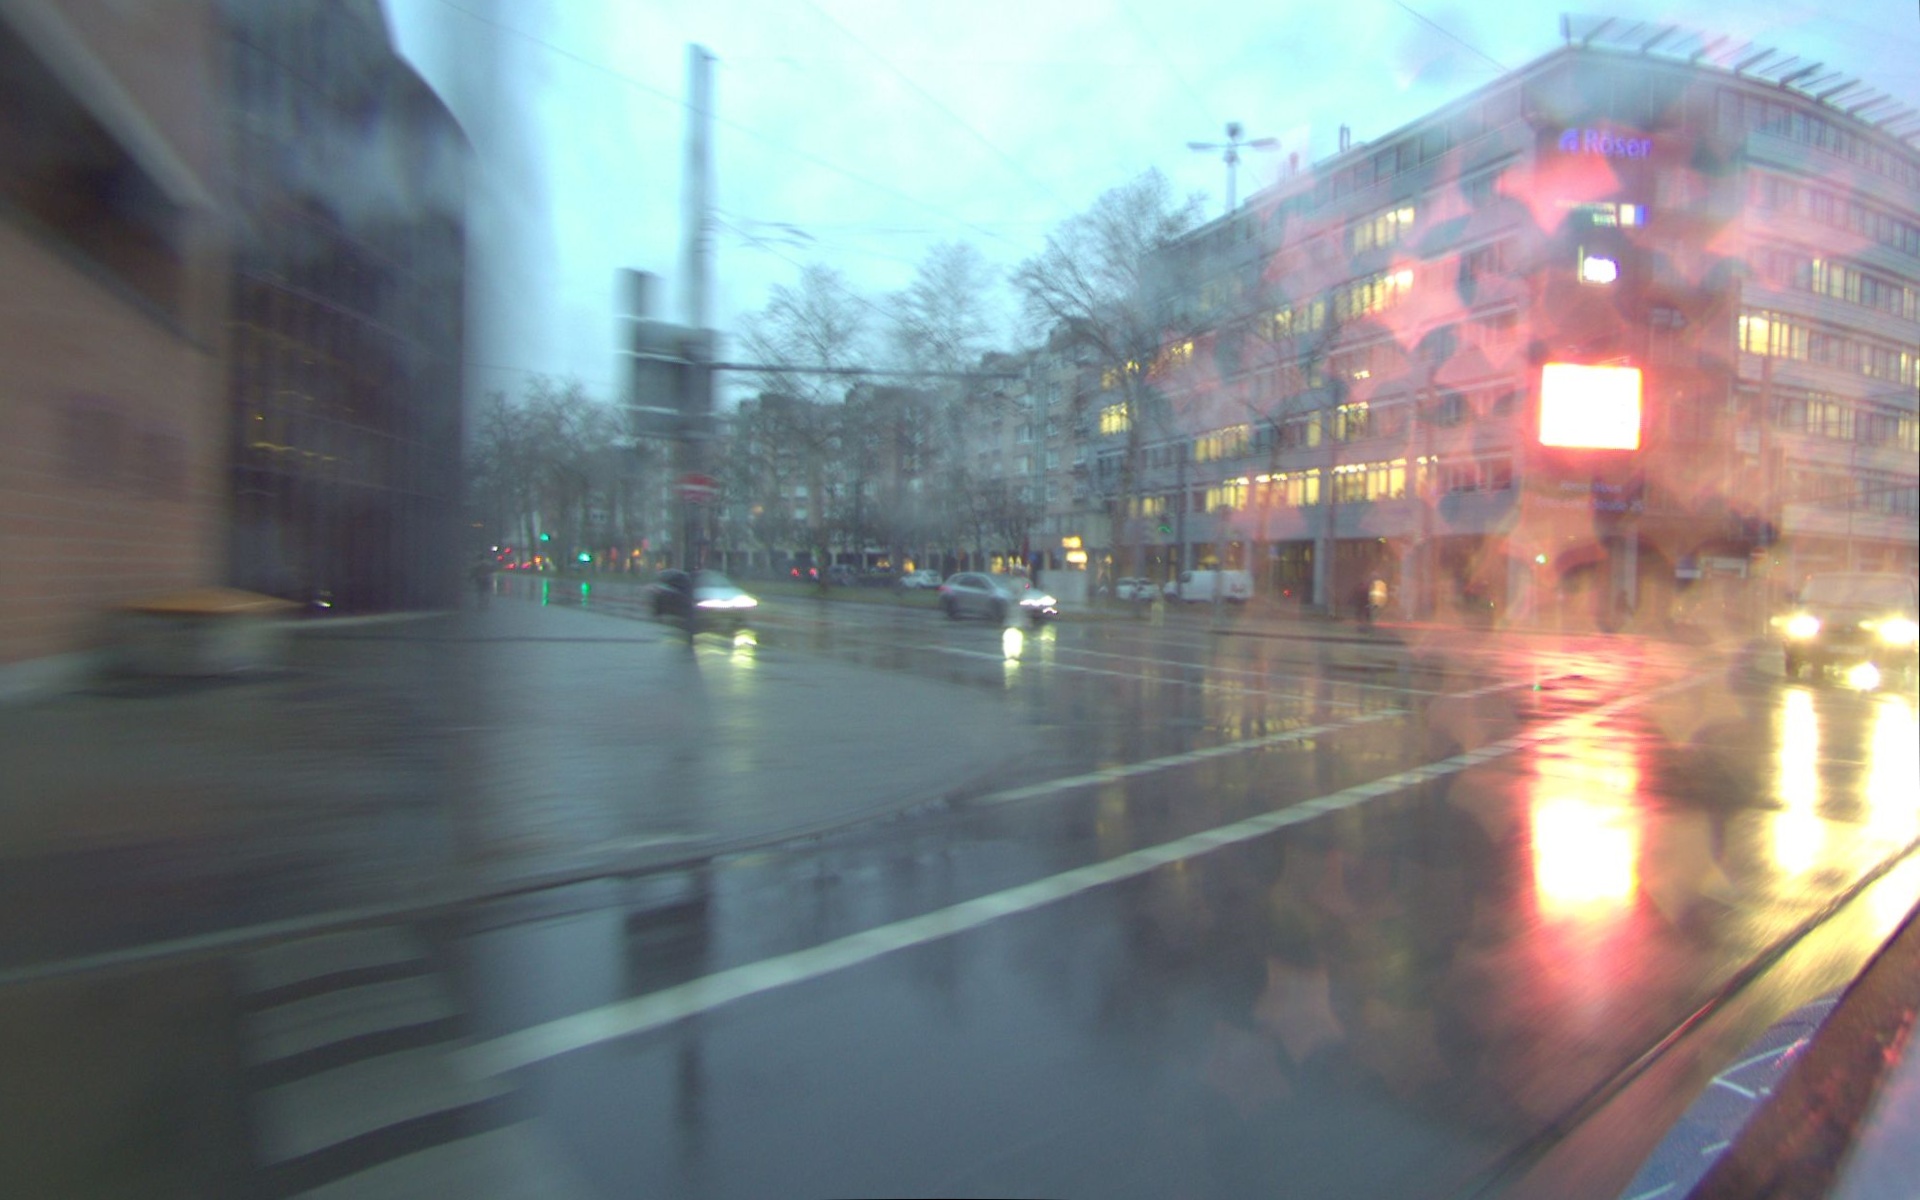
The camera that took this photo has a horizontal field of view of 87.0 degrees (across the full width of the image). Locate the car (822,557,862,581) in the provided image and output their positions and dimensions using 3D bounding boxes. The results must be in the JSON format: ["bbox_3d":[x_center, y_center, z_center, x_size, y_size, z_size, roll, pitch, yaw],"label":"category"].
[{"bbox_3d":[-10.033,-2.652,85.967,1.807,1.974,4.004,0,3,-33],"label":"car"}]

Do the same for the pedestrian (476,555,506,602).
[{"bbox_3d":[-14.398,-0.650,31.099,0.721,1.406,0.741,1,1,-16],"label":"pedestrian"}]

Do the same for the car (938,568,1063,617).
[{"bbox_3d":[1.179,-0.276,31.036,1.780,1.357,3.996,0,2,-34],"label":"car"}]

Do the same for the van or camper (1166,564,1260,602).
[{"bbox_3d":[13.382,-0.918,53.755,1.807,1.953,4.747,0,1,-36],"label":"van or camper"}]

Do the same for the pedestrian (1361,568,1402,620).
[{"bbox_3d":[15.184,-0.236,36.470,1.148,1.809,0.765,3,2,43],"label":"pedestrian"}]

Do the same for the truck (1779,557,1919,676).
[{"bbox_3d":[16.817,0.274,18.686,4.536,1.941,1.908,1,0,-41],"label":"truck"}]

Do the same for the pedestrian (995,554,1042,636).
[{"bbox_3d":[1.333,-0.123,23.066,0.722,1.809,0.735,0,2,-41],"label":"pedestrian"}]

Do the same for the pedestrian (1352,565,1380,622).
[{"bbox_3d":[13.466,-0.219,33.592,0.790,1.833,0.647,2,1,19],"label":"pedestrian"}]

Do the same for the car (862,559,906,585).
[{"bbox_3d":[-6.113,-2.264,81.077,1.807,1.974,4.004,0,3,-33],"label":"car"}]

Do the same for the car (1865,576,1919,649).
[{"bbox_3d":[26.061,0.331,26.622,4.593,1.842,1.913,1,0,-28],"label":"car"}]

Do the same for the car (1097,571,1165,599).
[{"bbox_3d":[9.862,-0.859,58.582,1.612,1.547,3.843,0,1,-36],"label":"car"}]

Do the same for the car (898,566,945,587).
[{"bbox_3d":[-2.943,-1.814,76.553,1.807,1.450,4.004,0,3,-33],"label":"car"}]

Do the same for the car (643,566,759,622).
[{"bbox_3d":[-7.166,-0.205,27.780,1.780,1.326,3.995,0,3,-35],"label":"car"}]

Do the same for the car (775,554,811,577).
[{"bbox_3d":[-15.588,-3.216,94.239,1.807,1.974,4.004,0,3,-33],"label":"car"}]
